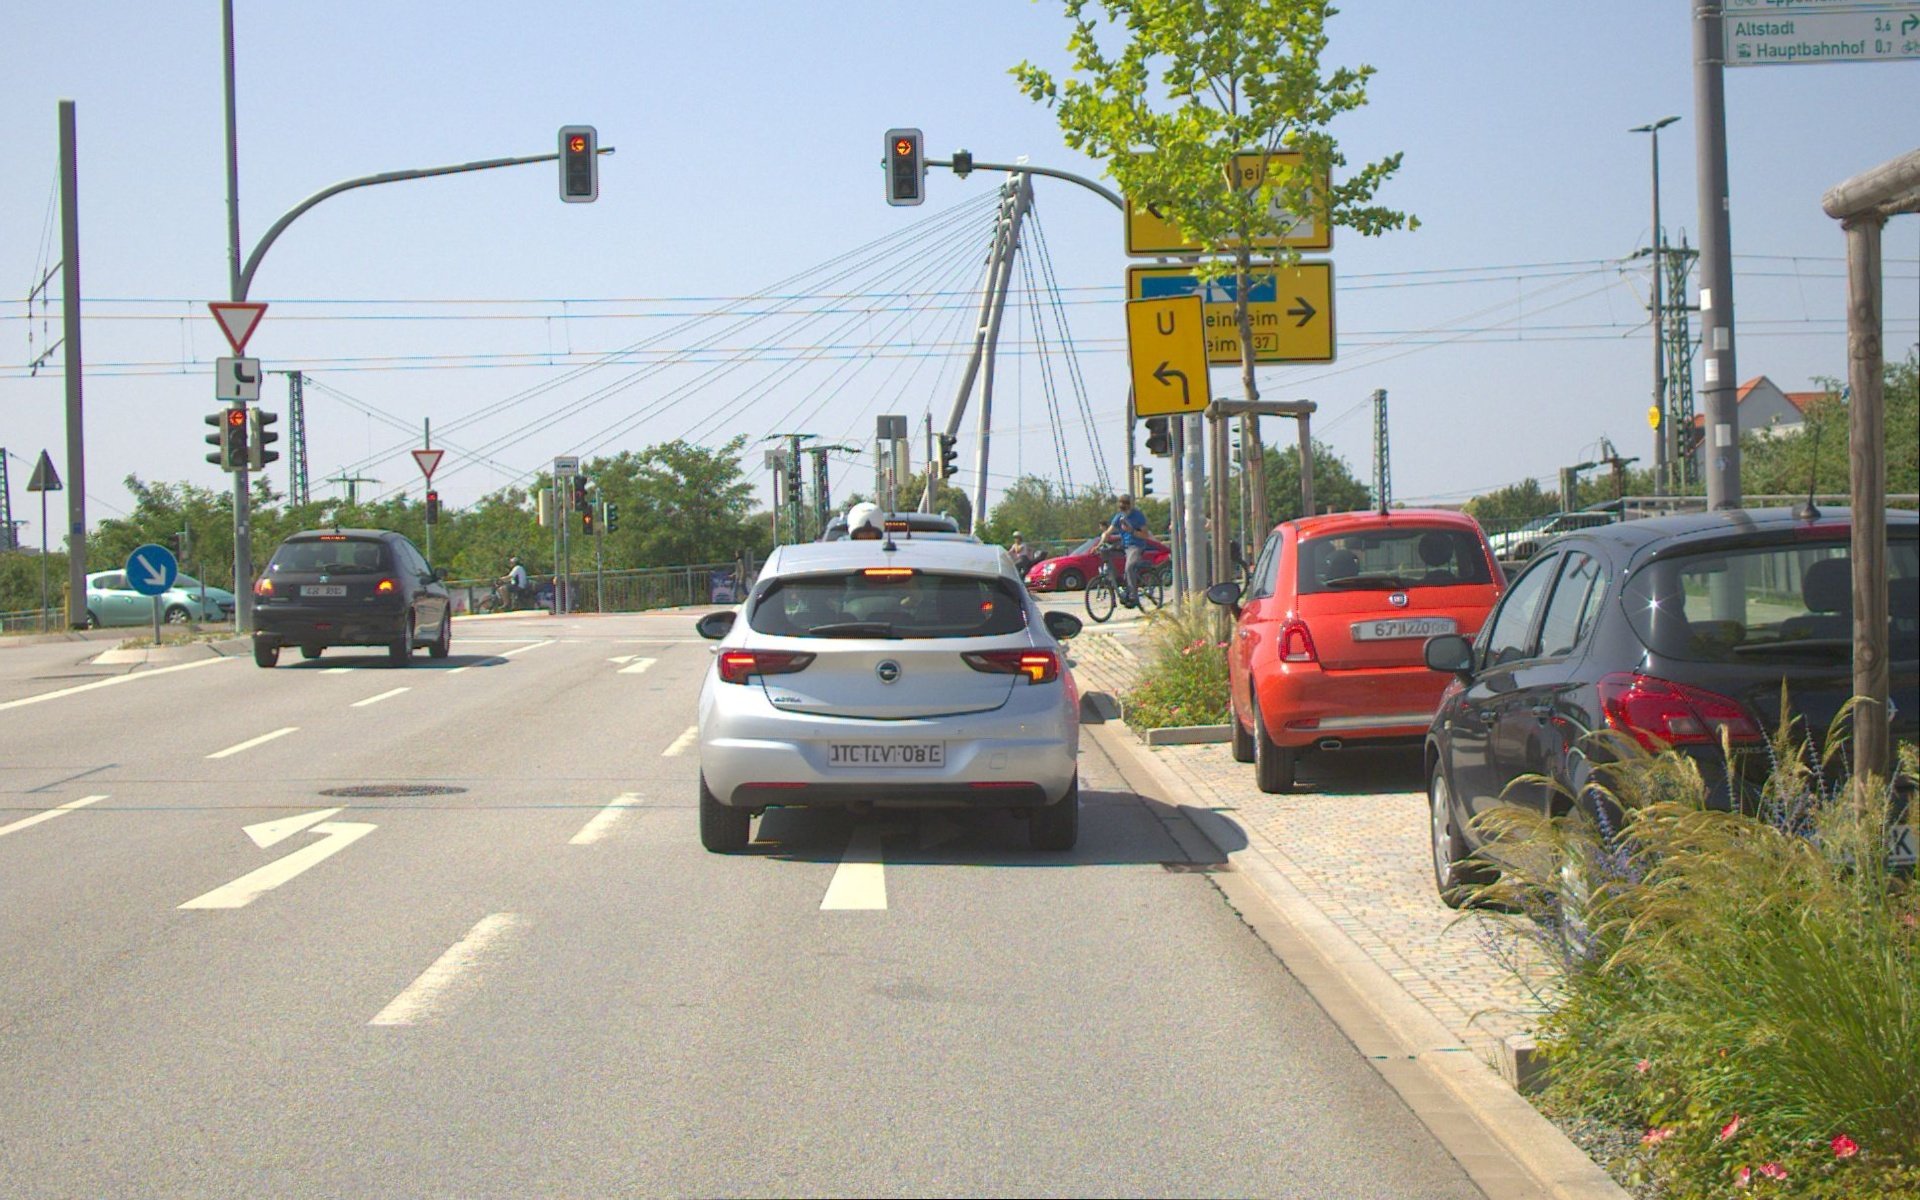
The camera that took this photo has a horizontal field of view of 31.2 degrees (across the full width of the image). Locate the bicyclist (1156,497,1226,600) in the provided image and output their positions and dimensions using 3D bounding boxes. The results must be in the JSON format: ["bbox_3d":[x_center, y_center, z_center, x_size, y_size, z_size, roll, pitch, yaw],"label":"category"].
[{"bbox_3d":[3.584,-0.794,53.216,0.821,1.563,0.947,1,0,21],"label":"bicyclist"}]

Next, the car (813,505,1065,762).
[{"bbox_3d":[-0.158,0.203,24.534,1.634,1.668,3.745,1,0,-1],"label":"car"}]

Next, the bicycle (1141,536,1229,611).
[{"bbox_3d":[3.483,-0.400,52.985,0.676,1.123,2.363,1,0,21],"label":"bicycle"}]

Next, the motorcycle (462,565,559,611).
[{"bbox_3d":[-12.236,-0.321,93.661,2.536,1.229,0.648,1,0,-1],"label":"motorcycle"}]

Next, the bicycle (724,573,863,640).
[{"bbox_3d":[-2.819,0.106,58.465,2.319,1.129,0.637,0,1,1],"label":"bicycle"}]

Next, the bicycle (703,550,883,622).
[{"bbox_3d":[-2.353,-0.202,48.628,2.504,1.003,0.605,0,1,1],"label":"bicycle"}]

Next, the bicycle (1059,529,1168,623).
[{"bbox_3d":[2.261,-0.363,50.268,0.727,1.130,2.530,-4,3,22],"label":"bicycle"}]

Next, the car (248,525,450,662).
[{"bbox_3d":[-6.521,-0.085,36.960,1.587,1.390,3.340,-1,0,-1],"label":"car"}]

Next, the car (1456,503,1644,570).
[{"bbox_3d":[14.962,-1.596,87.266,4.244,1.668,2.001,0,1,-17],"label":"car"}]

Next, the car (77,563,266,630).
[{"bbox_3d":[-17.434,-0.081,76.044,3.793,1.357,1.531,-1,2,18],"label":"car"}]

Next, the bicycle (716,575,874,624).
[{"bbox_3d":[-2.367,-0.013,49.437,2.246,0.690,0.516,0,1,1],"label":"bicycle"}]

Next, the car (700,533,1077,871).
[{"bbox_3d":[-0.342,0.418,17.581,1.690,1.514,4.271,0,1,-1],"label":"car"}]

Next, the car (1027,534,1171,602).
[{"bbox_3d":[3.515,-0.809,87.093,3.379,1.650,1.648,1,0,-9],"label":"car"}]

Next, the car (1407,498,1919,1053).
[{"bbox_3d":[2.621,0.466,11.868,1.581,1.550,3.547,-3,2,-1],"label":"car"}]

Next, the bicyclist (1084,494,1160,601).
[{"bbox_3d":[2.384,-0.764,50.546,0.861,1.554,0.824,1,0,22],"label":"bicyclist"}]

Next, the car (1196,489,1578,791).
[{"bbox_3d":[2.412,0.197,20.284,1.669,1.534,3.917,-3,0,-1],"label":"car"}]

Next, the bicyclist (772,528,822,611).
[{"bbox_3d":[-2.344,-0.435,49.429,0.657,1.171,0.731,1,0,1],"label":"bicyclist"}]

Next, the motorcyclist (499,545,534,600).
[{"bbox_3d":[-12.077,-0.745,93.655,0.809,1.471,0.885,1,0,0],"label":"motorcyclist"}]

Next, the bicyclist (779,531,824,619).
[{"bbox_3d":[-2.690,-0.427,58.477,0.718,1.499,0.824,0,0,0],"label":"bicyclist"}]
